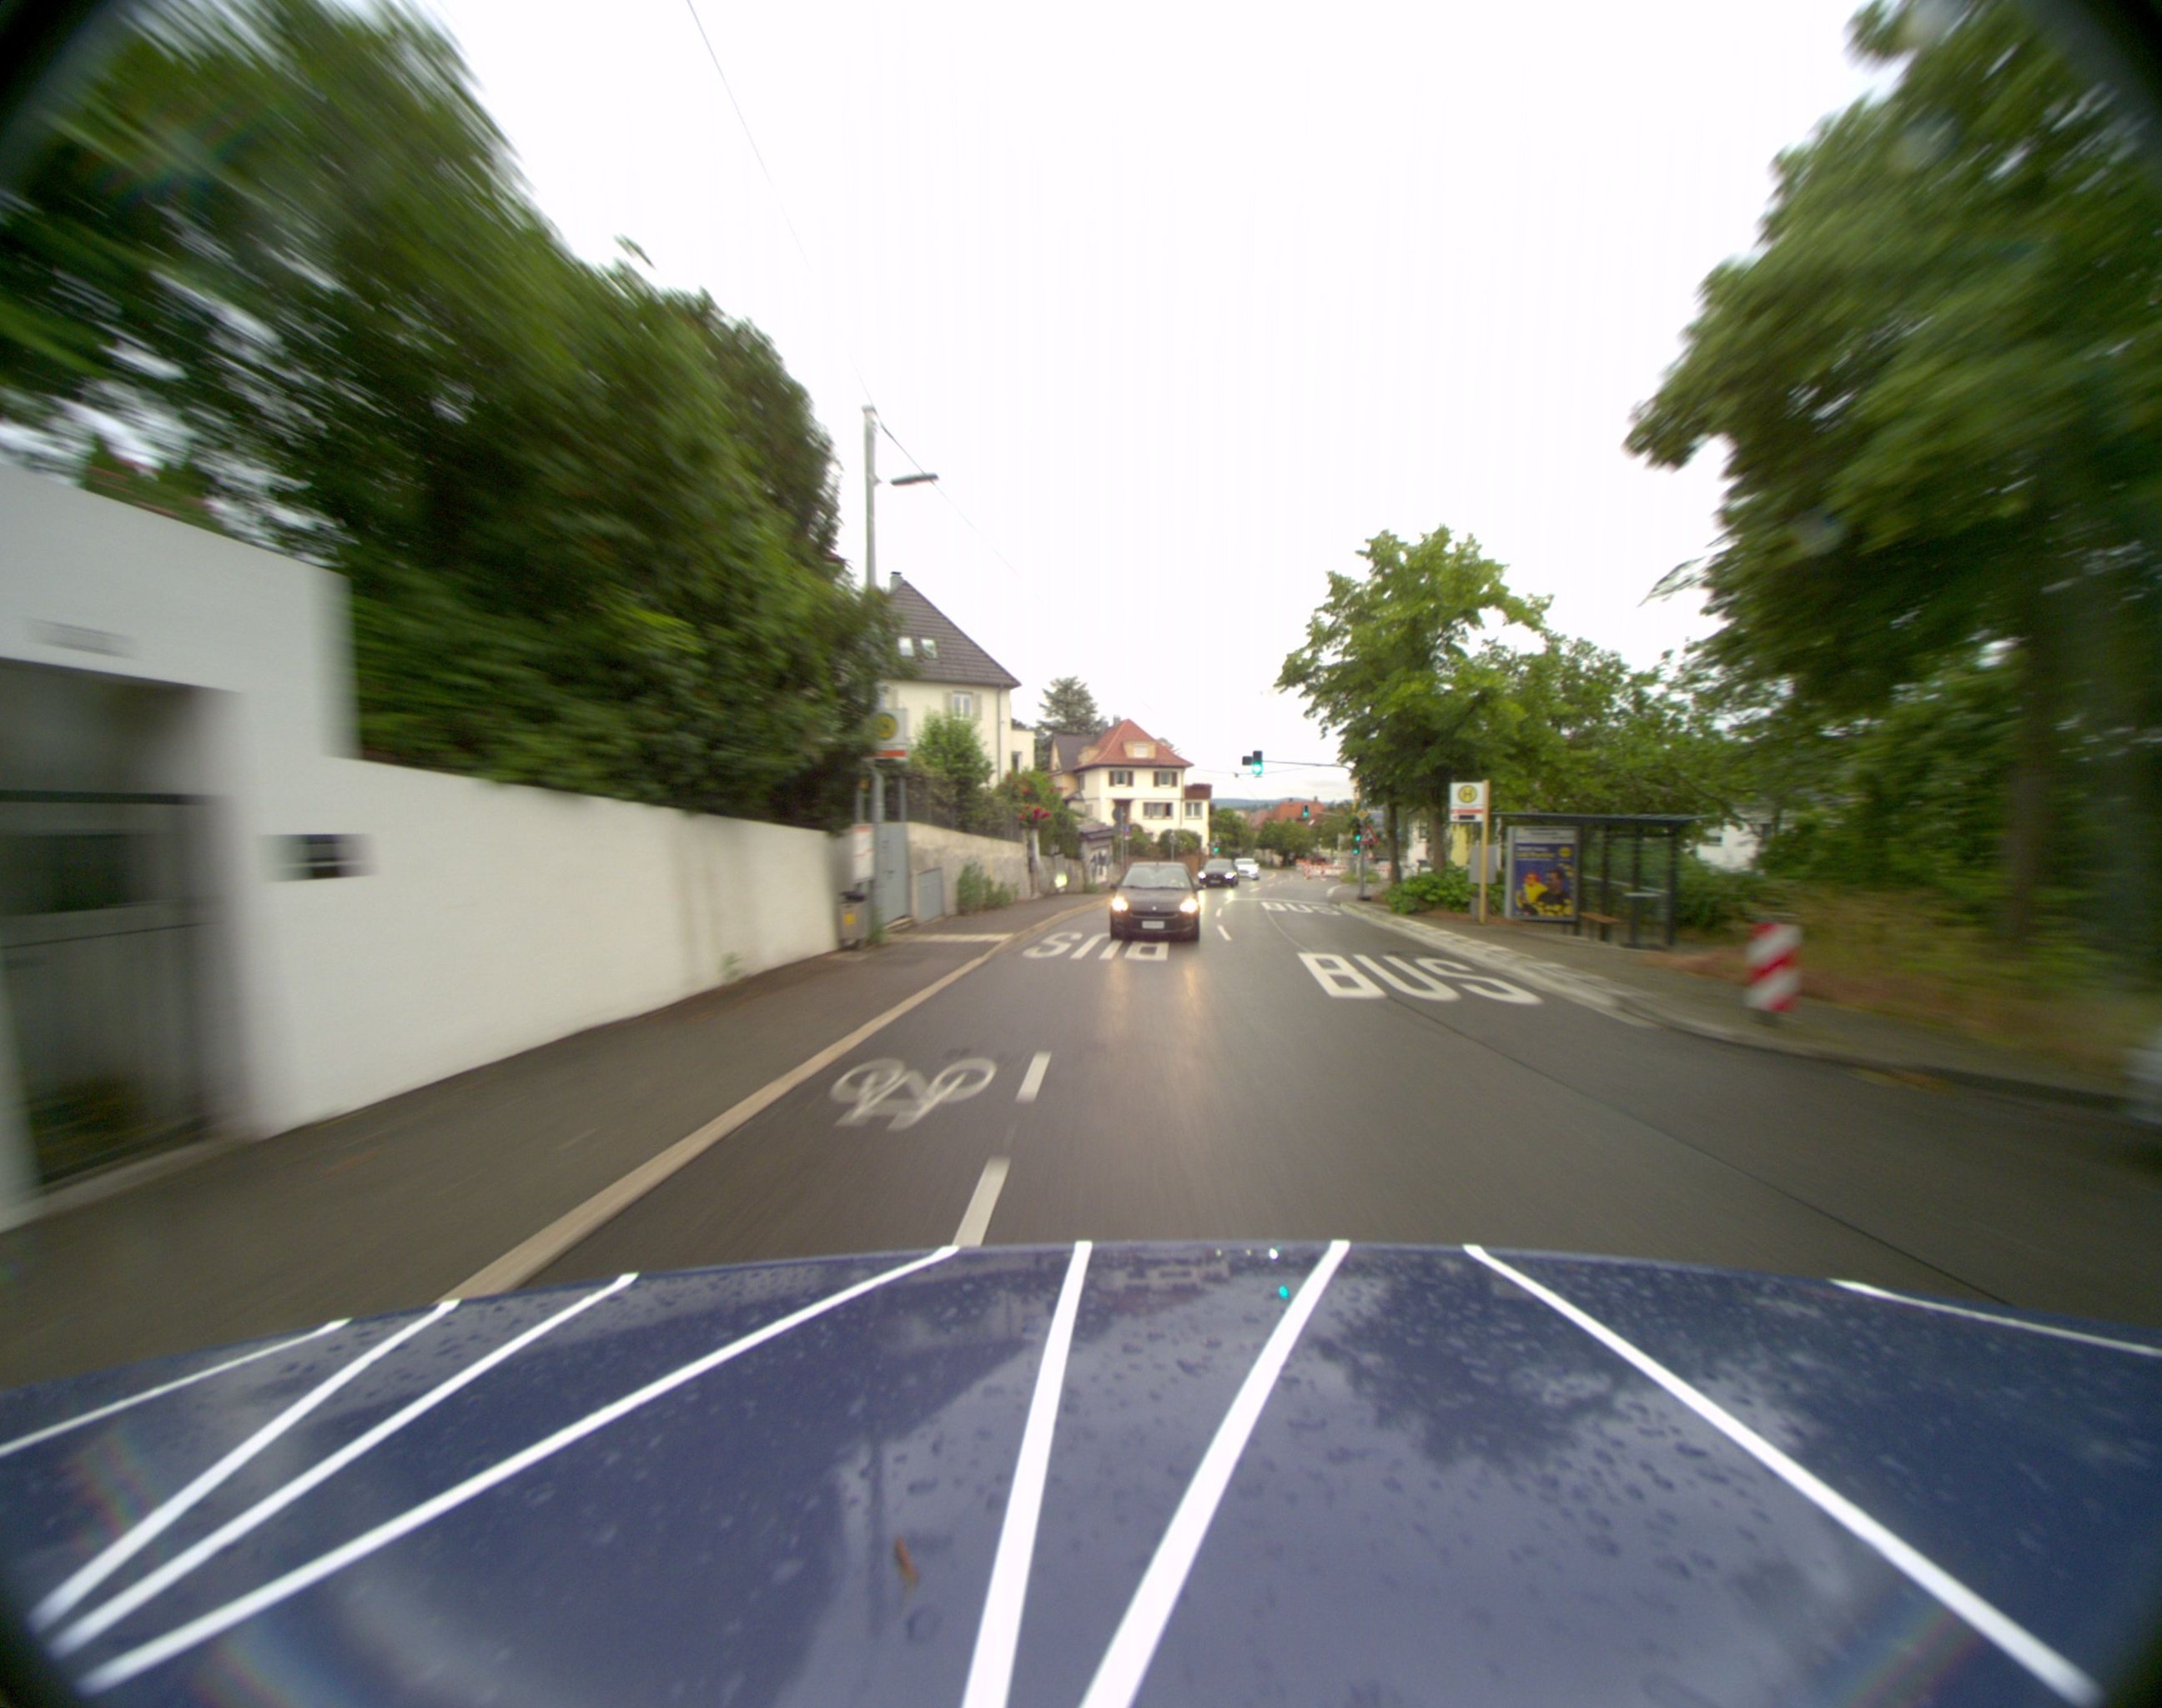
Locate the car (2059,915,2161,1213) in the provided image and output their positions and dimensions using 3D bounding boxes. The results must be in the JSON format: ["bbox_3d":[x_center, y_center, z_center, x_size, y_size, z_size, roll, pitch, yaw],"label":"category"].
[{"bbox_3d":[6.008,1.010,1.876,1.659,1.421,4.377,2,-1,3],"label":"car"}]

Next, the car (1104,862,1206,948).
[{"bbox_3d":[1.567,0.932,15.732,1.803,1.418,4.384,0,1,6],"label":"car"}]

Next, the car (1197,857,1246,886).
[{"bbox_3d":[7.576,0.904,40.665,2.028,1.454,4.005,-1,0,18],"label":"car"}]

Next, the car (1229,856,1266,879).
[{"bbox_3d":[12.301,0.987,55.937,2.027,1.619,4.234,0,0,20],"label":"car"}]

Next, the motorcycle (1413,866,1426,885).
[{"bbox_3d":[21.558,1.369,48.364,0.473,1.138,1.424,2,0,13],"label":"motorcycle"}]
